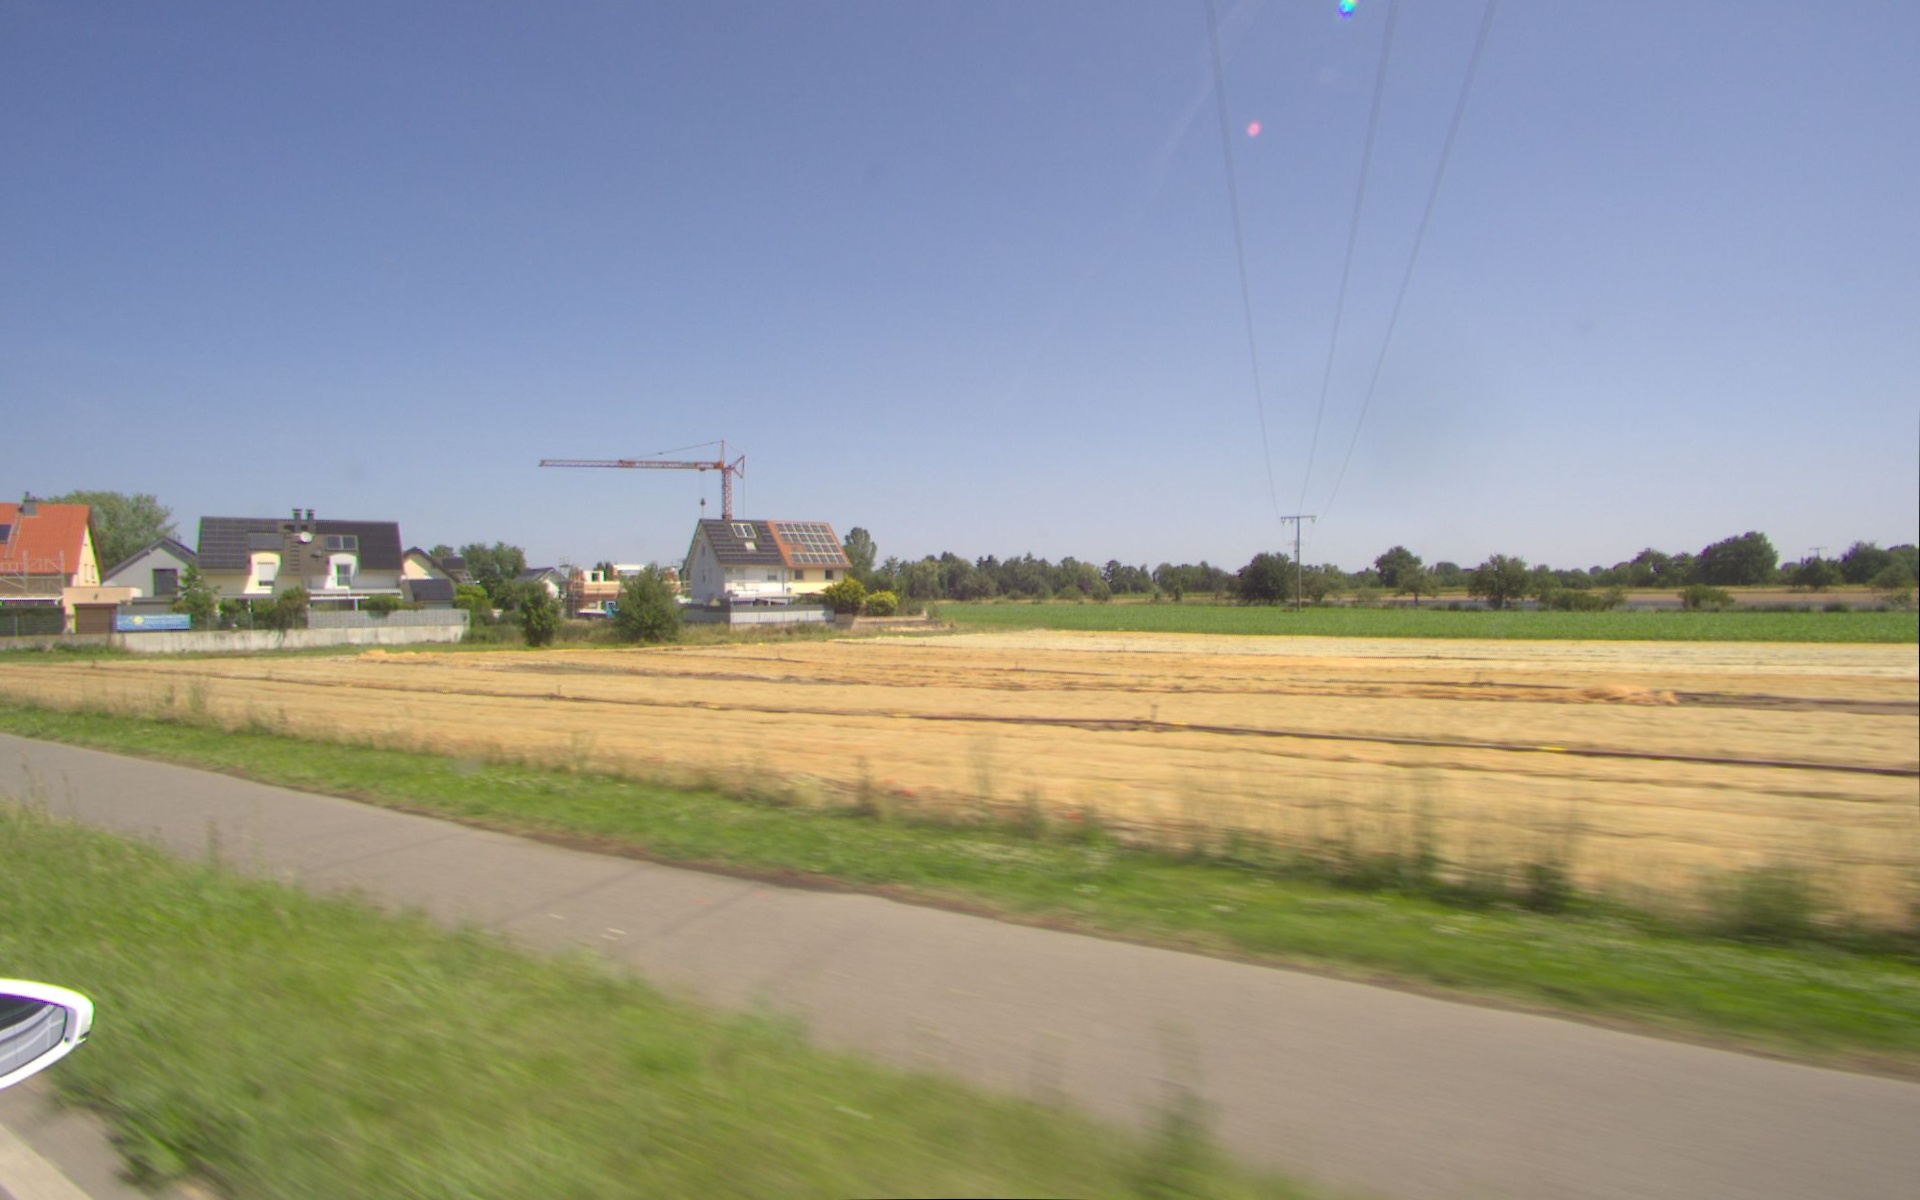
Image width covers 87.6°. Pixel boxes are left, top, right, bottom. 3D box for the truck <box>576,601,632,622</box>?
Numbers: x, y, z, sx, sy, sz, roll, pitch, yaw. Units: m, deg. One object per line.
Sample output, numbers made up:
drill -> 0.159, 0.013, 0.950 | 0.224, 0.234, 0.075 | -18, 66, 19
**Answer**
truck -> -39.847, 1.265, 112.136 | 5.496, 2.260, 2.201 | -2, 1, -33
